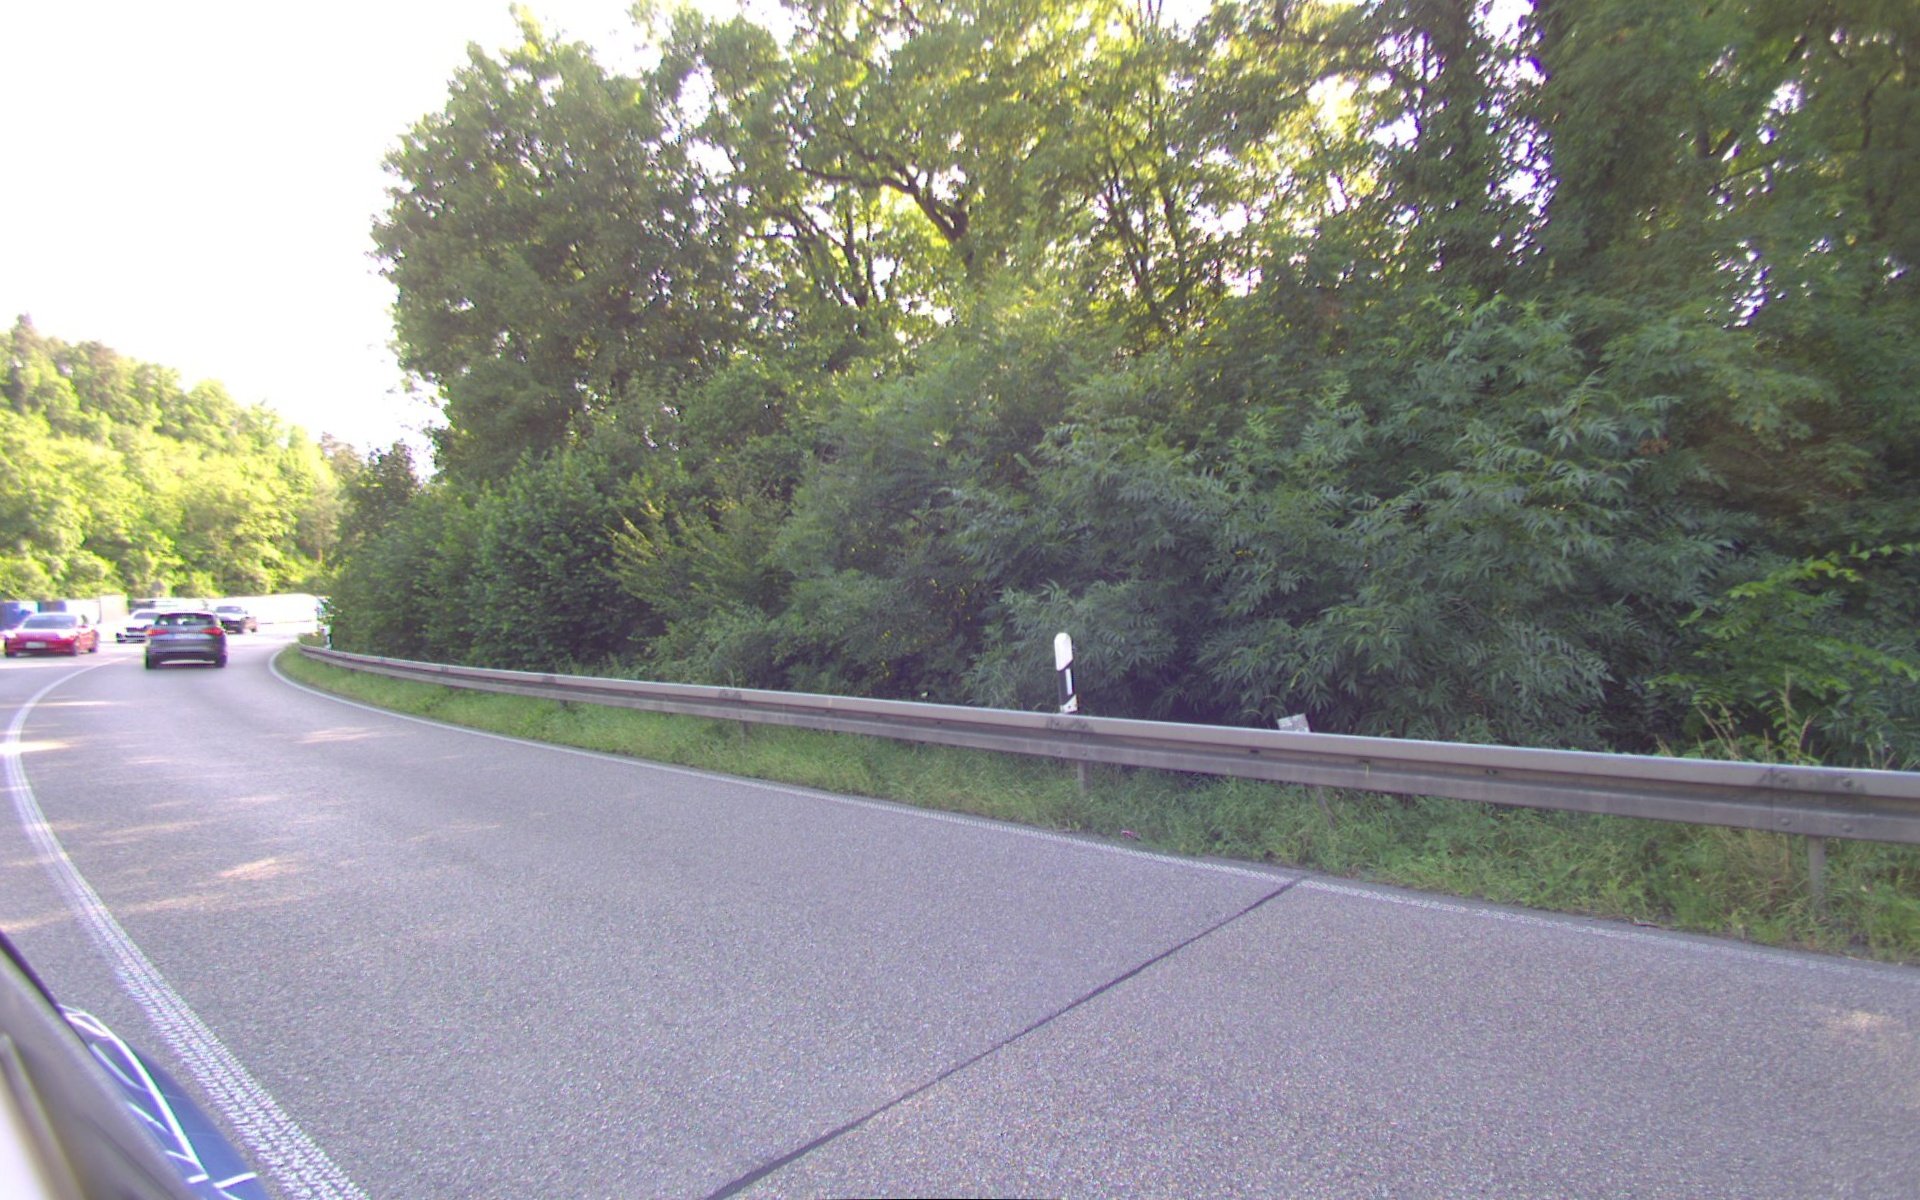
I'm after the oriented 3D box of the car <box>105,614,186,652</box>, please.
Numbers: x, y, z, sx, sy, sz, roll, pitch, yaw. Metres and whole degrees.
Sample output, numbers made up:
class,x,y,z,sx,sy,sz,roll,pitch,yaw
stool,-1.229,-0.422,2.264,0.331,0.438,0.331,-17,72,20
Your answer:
class,x,y,z,sx,sy,sz,roll,pitch,yaw
car,-36.745,1.430,45.788,1.884,1.476,4.552,-3,1,-27

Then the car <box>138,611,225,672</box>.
class,x,y,z,sx,sy,sz,roll,pitch,yaw
car,-21.856,1.156,28.509,1.843,1.577,4.009,0,-2,-36

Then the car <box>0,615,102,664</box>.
class,x,y,z,sx,sy,sz,roll,pitch,yaw
car,-30.644,1.283,34.125,1.829,1.431,4.432,-3,1,-31

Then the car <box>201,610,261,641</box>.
class,x,y,z,sx,sy,sz,roll,pitch,yaw
car,-42.288,1.449,58.770,1.829,1.608,4.552,-3,1,-23
